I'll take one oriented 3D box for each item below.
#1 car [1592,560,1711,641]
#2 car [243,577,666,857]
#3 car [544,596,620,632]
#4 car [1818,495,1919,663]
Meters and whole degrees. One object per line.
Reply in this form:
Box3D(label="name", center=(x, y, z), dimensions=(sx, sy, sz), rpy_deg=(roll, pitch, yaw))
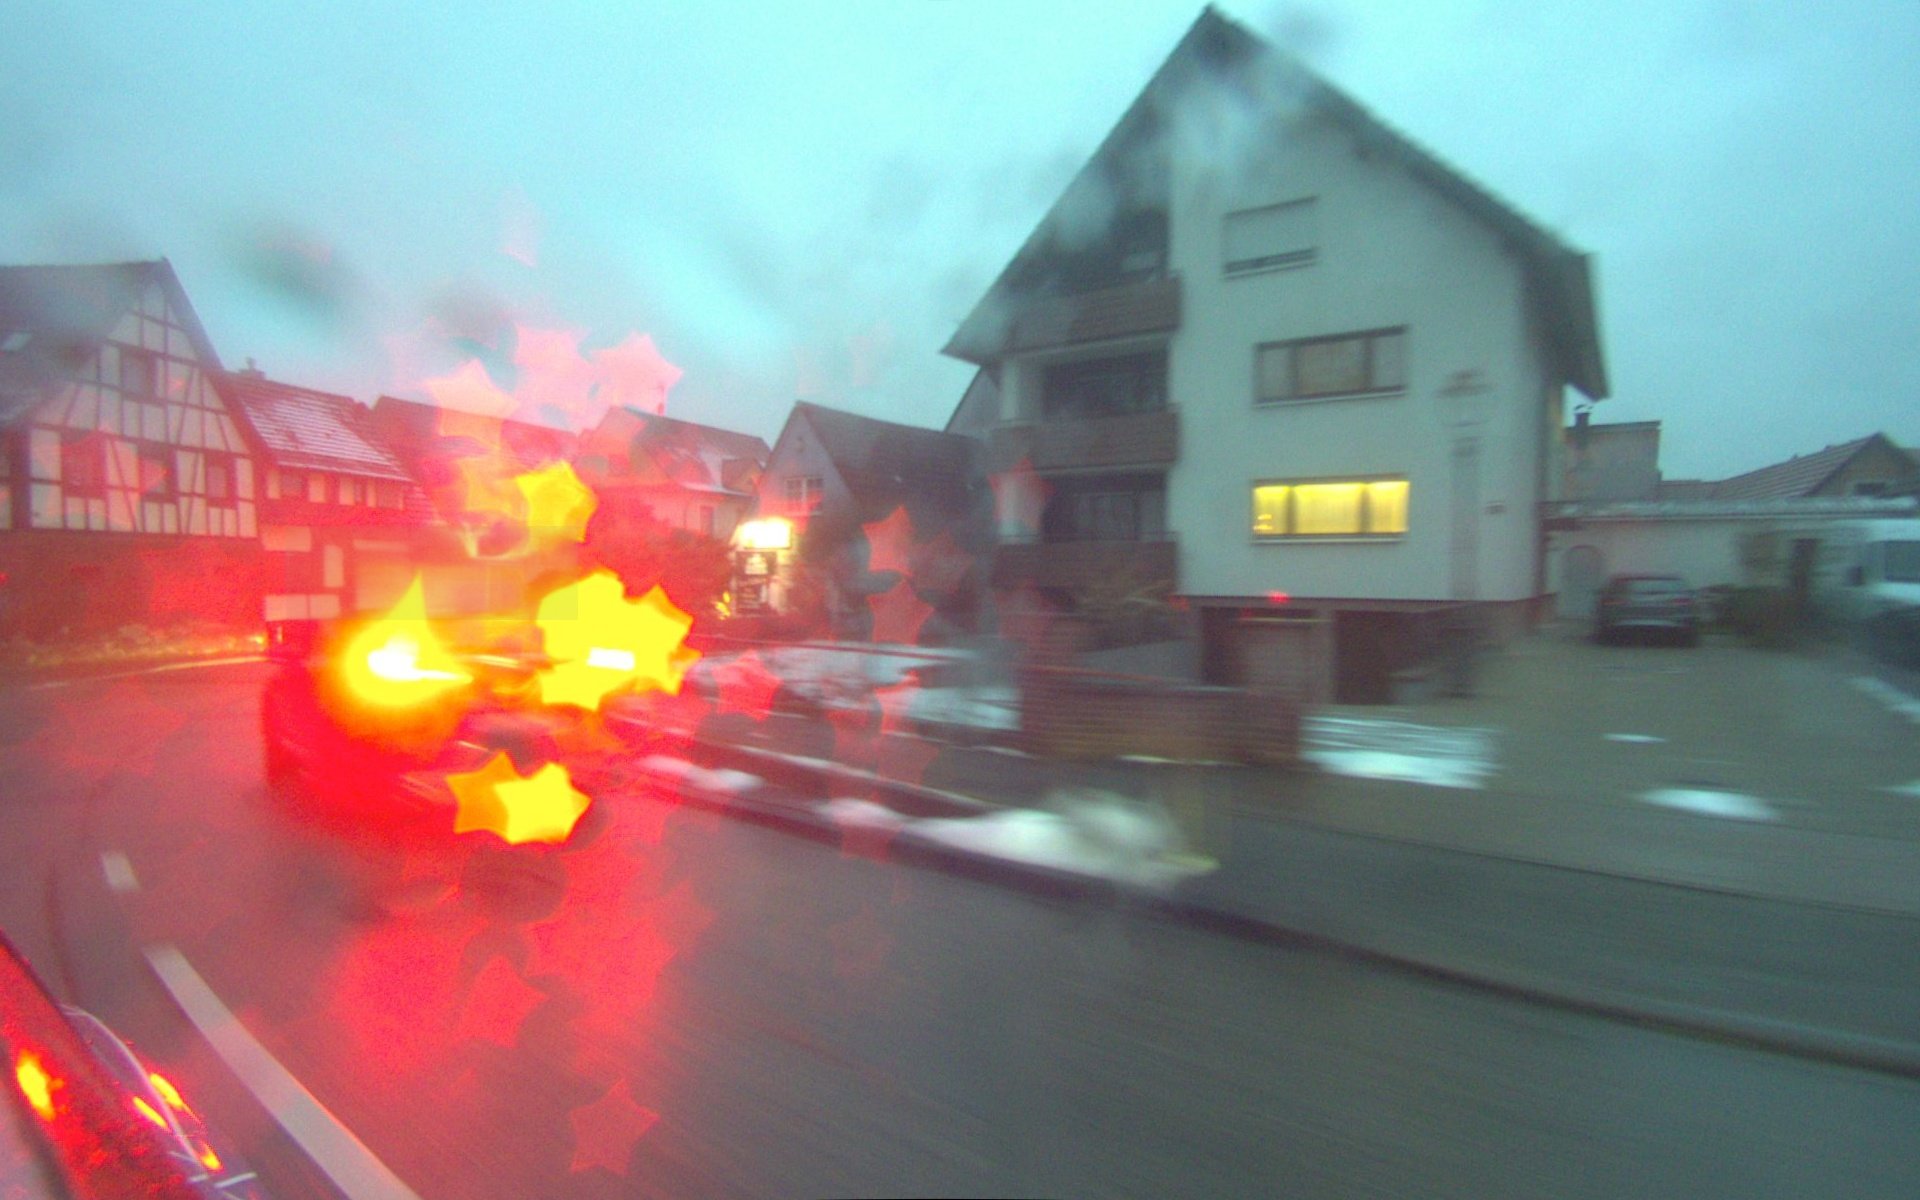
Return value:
Box3D(label="car", center=(14.113, -0.015, 20.706), dimensions=(1.816, 1.497, 3.953), rpy_deg=(-1, 0, 34))
Box3D(label="car", center=(-4.318, 0.691, 8.202), dimensions=(1.855, 1.625, 4.607), rpy_deg=(0, -1, -43))
Box3D(label="car", center=(-18.427, 0.639, 49.268), dimensions=(3.478, 1.517, 1.632), rpy_deg=(3, 1, 31))
Box3D(label="car", center=(16.556, -0.376, 17.246), dimensions=(2.206, 2.559, 5.294), rpy_deg=(-1, 0, 33))
